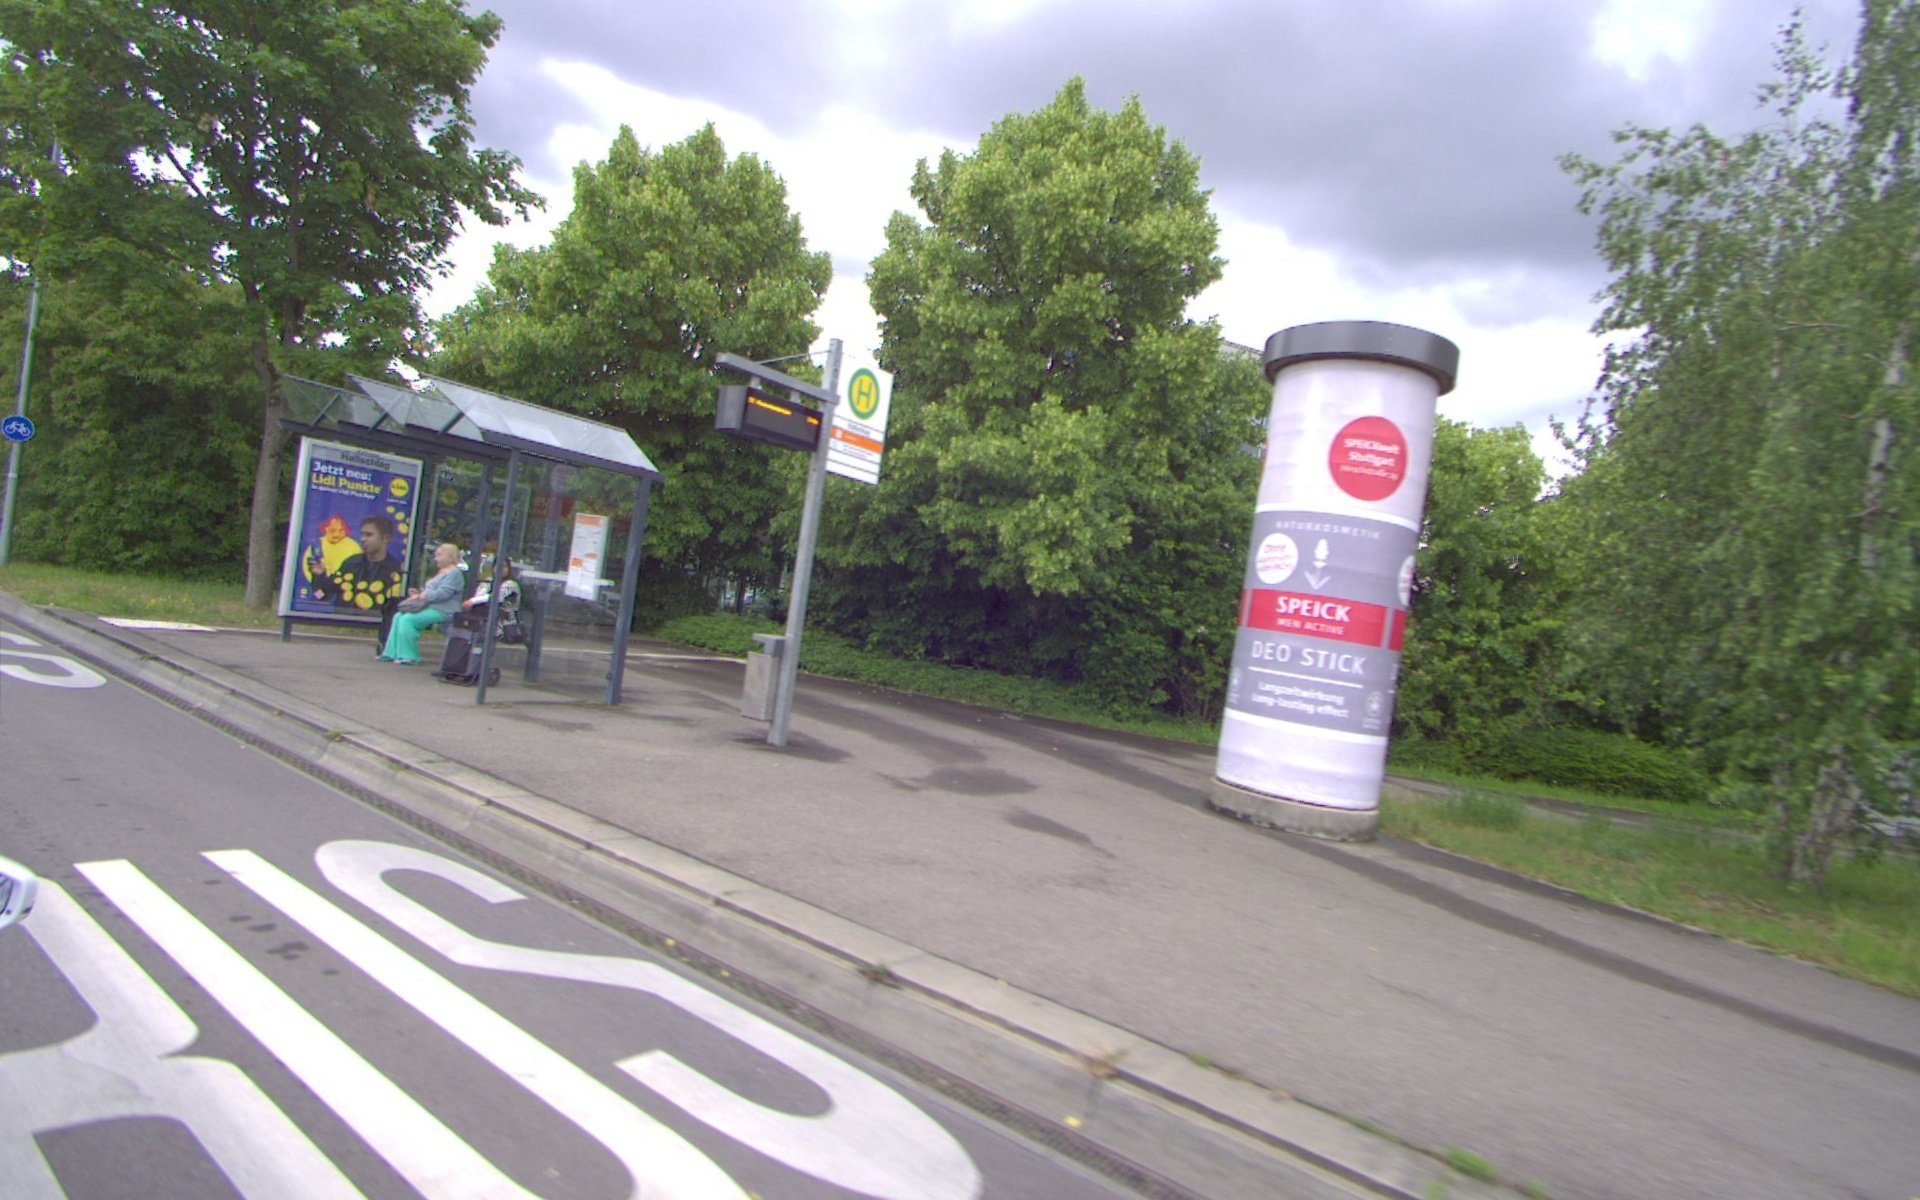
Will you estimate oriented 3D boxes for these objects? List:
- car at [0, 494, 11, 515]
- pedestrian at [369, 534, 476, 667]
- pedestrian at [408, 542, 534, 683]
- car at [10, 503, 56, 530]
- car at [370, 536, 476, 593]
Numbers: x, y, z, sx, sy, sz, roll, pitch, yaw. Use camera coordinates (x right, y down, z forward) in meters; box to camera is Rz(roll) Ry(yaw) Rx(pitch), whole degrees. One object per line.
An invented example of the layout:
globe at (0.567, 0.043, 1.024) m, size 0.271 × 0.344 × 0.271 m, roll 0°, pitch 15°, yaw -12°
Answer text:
car at (-68.178, -6.849, 70.591) m, size 4.280 × 1.370 × 1.710 m, roll 6°, pitch -1°, yaw 39°
pedestrian at (-5.834, 0.012, 10.927) m, size 0.580 × 1.331 × 0.728 m, roll 7°, pitch -1°, yaw 39°
pedestrian at (-4.877, 0.131, 10.081) m, size 0.759 × 1.267 × 0.776 m, roll 7°, pitch -1°, yaw -4°
car at (-66.890, -6.019, 72.590) m, size 4.280 × 1.525 × 1.711 m, roll 6°, pitch -3°, yaw 39°
car at (-28.165, -1.842, 52.859) m, size 4.343 × 2.354 × 2.002 m, roll 7°, pitch -1°, yaw 6°
